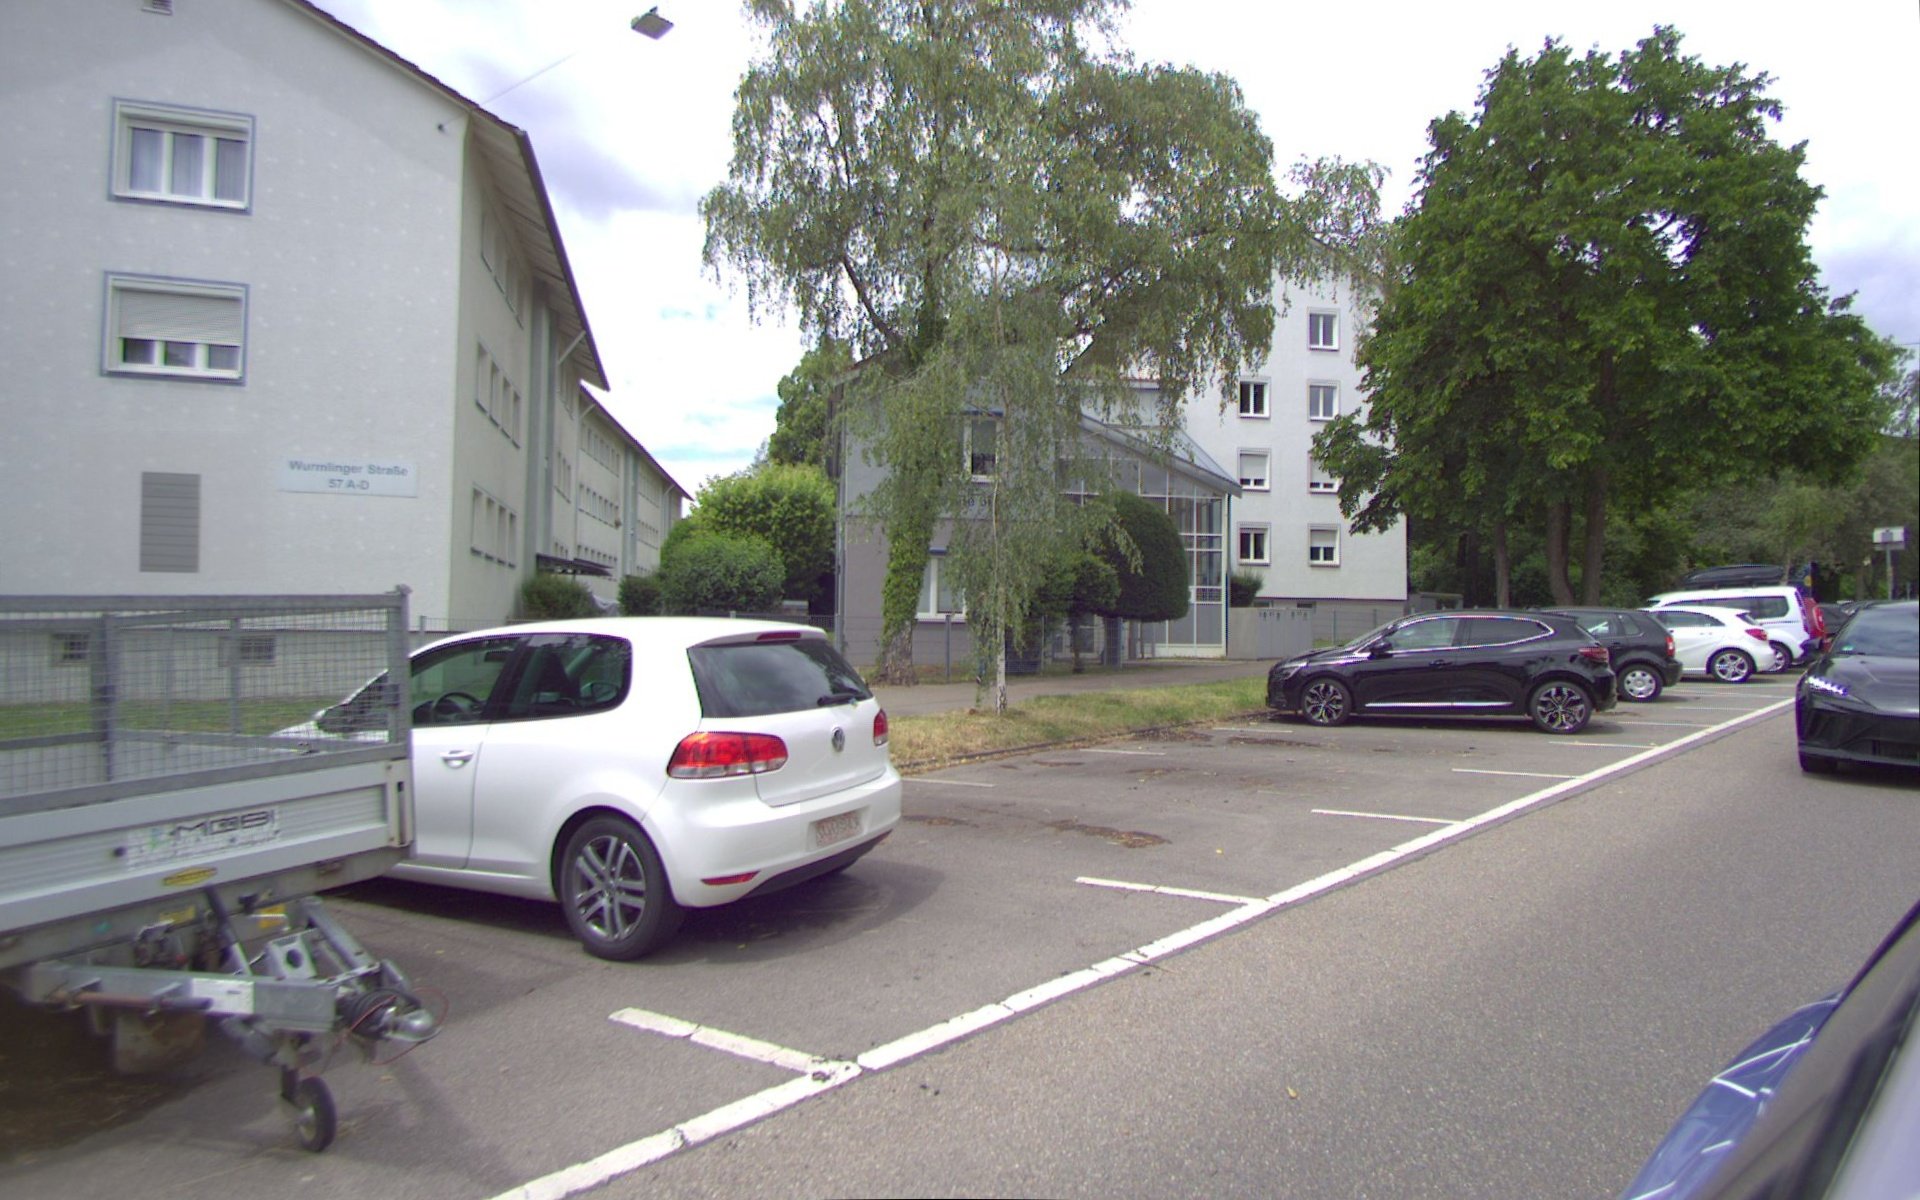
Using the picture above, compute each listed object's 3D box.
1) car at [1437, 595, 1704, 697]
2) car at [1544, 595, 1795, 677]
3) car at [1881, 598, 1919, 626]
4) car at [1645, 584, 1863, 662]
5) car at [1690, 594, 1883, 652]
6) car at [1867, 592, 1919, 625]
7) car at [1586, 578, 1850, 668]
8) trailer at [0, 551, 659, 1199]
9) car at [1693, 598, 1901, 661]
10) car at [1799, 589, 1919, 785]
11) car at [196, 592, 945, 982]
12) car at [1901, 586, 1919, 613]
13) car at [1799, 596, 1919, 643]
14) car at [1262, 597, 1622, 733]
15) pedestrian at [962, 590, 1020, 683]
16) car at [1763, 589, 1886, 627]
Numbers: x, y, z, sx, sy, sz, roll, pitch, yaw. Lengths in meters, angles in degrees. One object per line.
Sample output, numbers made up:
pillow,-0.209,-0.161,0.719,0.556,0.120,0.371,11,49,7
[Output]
car,9.730,0.722,16.396,3.482,1.483,1.698,-2,-1,29
car,13.690,0.689,19.741,3.832,1.457,1.694,-2,-1,36
car,50.398,0.607,52.478,3.841,1.404,1.630,-2,-1,42
car,18.371,0.541,23.673,3.832,1.664,1.829,-2,-1,36
car,22.041,0.638,27.198,3.832,1.453,1.634,-2,-1,36
car,48.298,0.416,50.929,3.841,1.582,1.630,-2,-1,42
car,16.068,0.506,21.764,4.177,1.781,1.843,-2,-1,25
trailer,-3.031,0.716,3.452,3.968,1.572,1.640,-1,-1,32
car,20.749,0.741,25.317,3.832,1.453,1.634,-2,-1,36
car,8.981,0.665,8.992,3.728,1.511,1.811,-1,1,-42
car,-2.239,0.765,5.619,3.964,1.483,1.773,-2,-1,29
car,52.318,-0.092,53.382,3.841,1.404,1.630,-2,-1,42
car,33.301,0.698,36.916,3.824,1.633,1.638,-2,-1,30
car,5.911,0.770,12.768,3.815,1.452,1.702,-2,1,25
pedestrian,0.527,0.601,17.071,0.688,1.523,0.770,-1,-1,29
car,38.281,0.371,44.944,3.824,1.578,1.638,-2,-1,30
